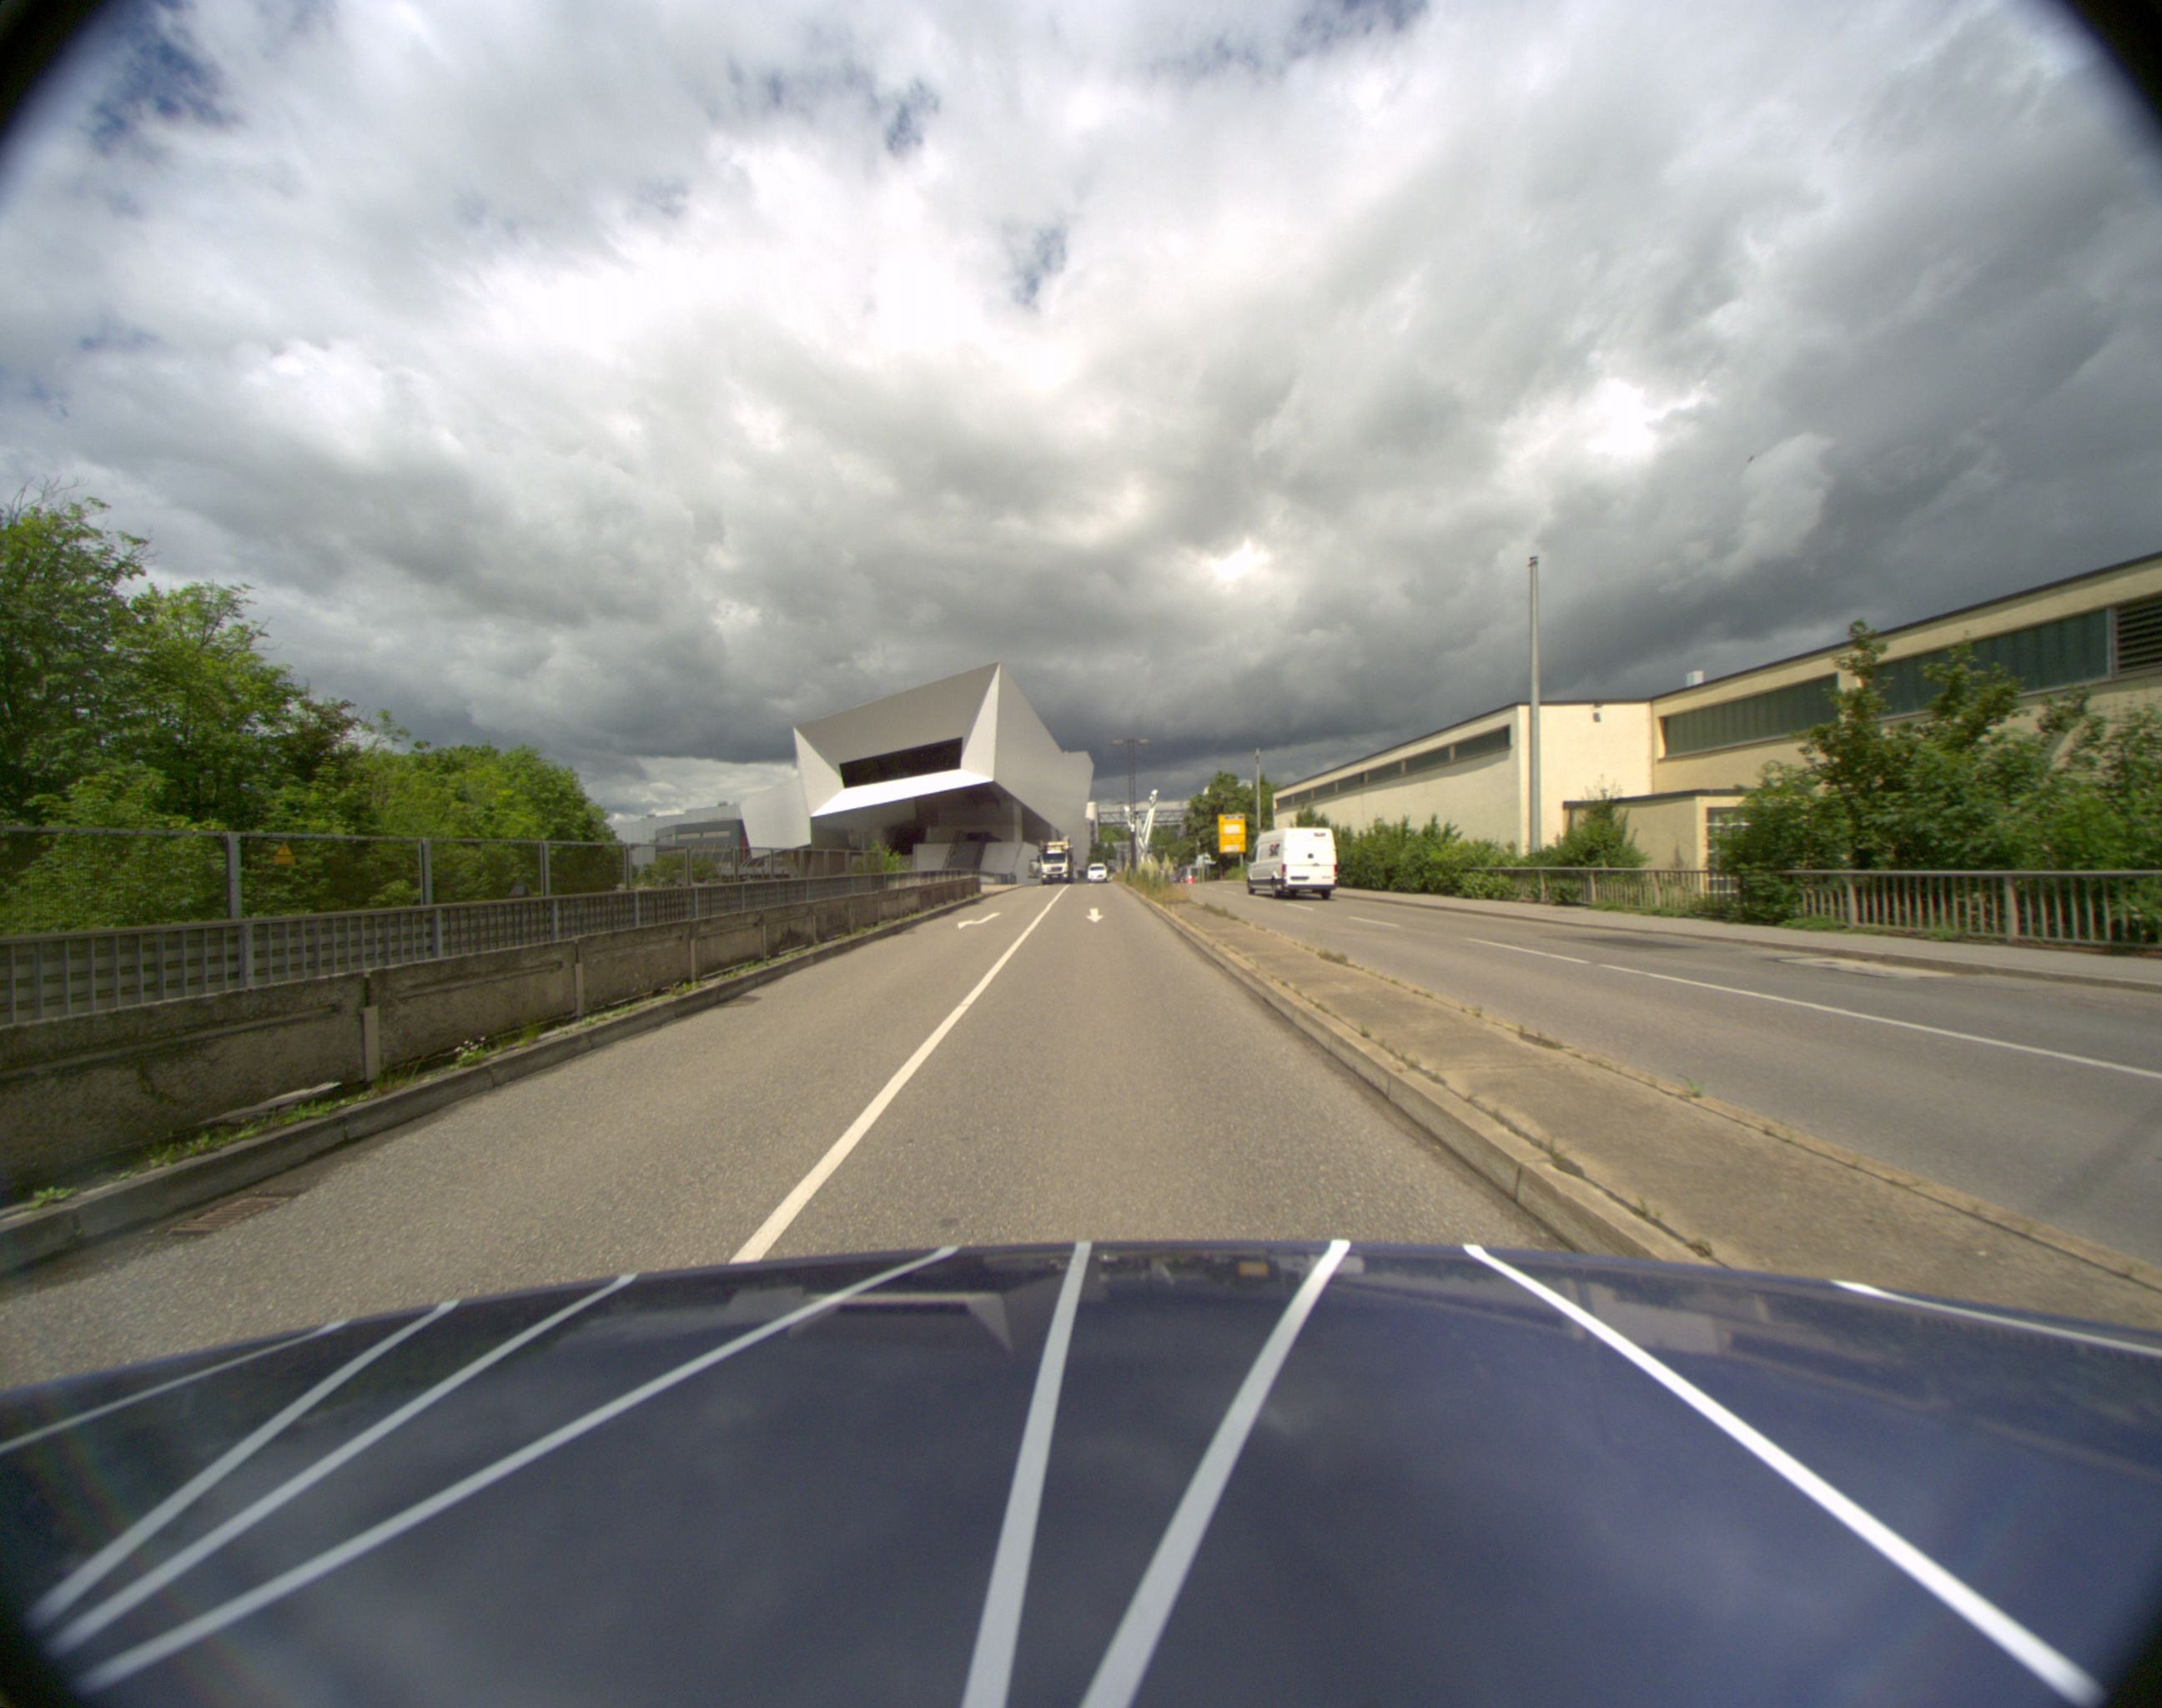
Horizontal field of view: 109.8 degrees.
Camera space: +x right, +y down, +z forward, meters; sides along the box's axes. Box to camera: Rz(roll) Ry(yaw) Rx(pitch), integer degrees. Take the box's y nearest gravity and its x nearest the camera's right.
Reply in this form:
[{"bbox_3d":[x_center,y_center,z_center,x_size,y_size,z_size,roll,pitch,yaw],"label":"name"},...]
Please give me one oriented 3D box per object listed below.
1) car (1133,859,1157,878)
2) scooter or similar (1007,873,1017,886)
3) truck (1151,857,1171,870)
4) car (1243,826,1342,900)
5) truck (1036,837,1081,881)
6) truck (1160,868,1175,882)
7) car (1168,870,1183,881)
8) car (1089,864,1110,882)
[{"bbox_3d":[6.691,1.530,79.849,1.998,1.877,4.869,-1,-1,0],"label":"car"},{"bbox_3d":[-6.271,2.322,69.109,0.655,1.206,1.858,-1,-2,1],"label":"scooter or similar"},{"bbox_3d":[26.563,3.177,253.264,2.364,3.545,8.975,-2,-3,-24],"label":"truck"},{"bbox_3d":[8.034,0.341,29.693,2.072,2.556,6.822,0,0,1],"label":"car"},{"bbox_3d":[-1.900,0.573,69.390,2.842,3.667,10.761,-2,-2,5],"label":"truck"},{"bbox_3d":[19.313,4.734,169.957,2.861,2.838,9.389,-2,-4,9],"label":"truck"},{"bbox_3d":[11.824,2.684,95.125,1.758,1.268,4.002,1,-1,5],"label":"car"},{"bbox_3d":[1.888,1.861,76.238,1.986,1.702,4.761,-2,0,1],"label":"car"}]
